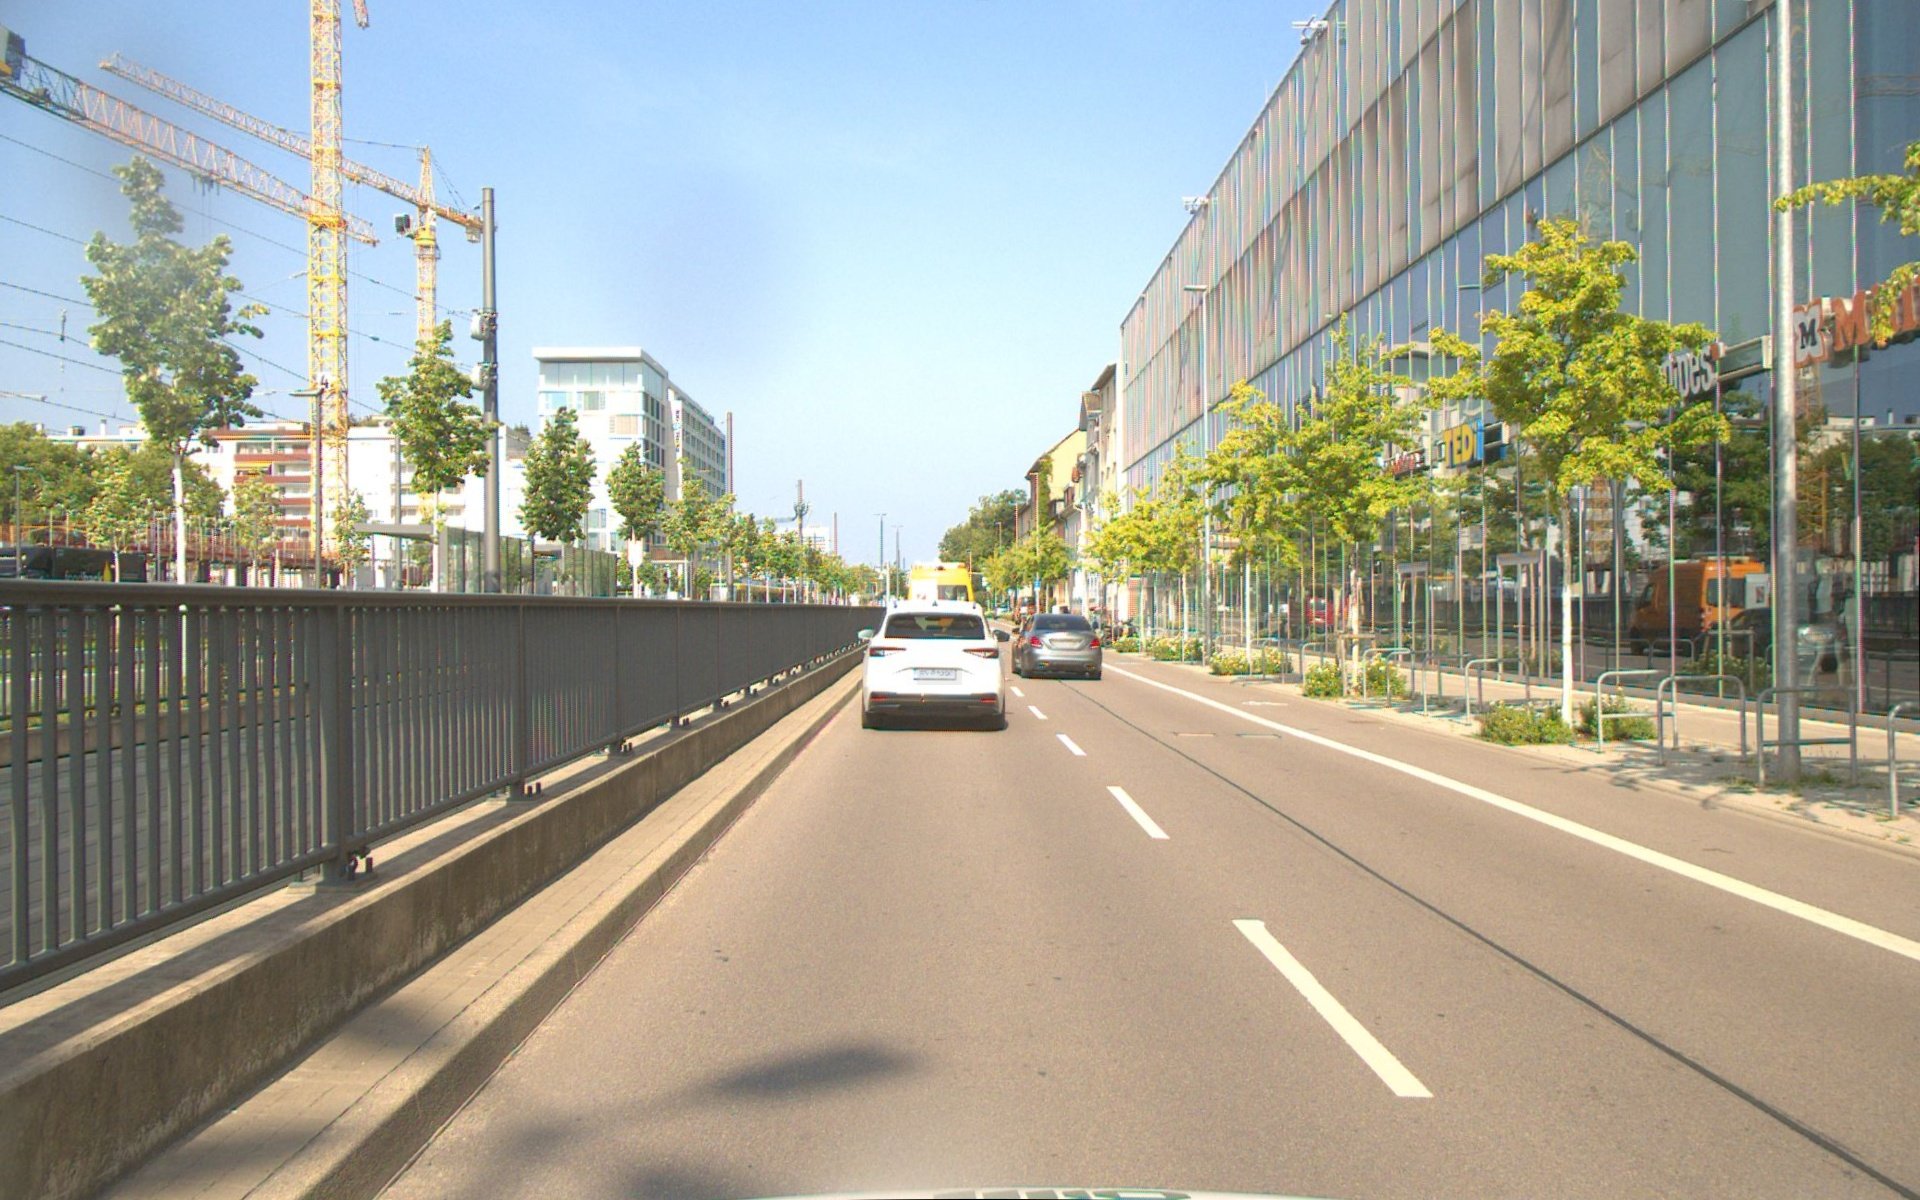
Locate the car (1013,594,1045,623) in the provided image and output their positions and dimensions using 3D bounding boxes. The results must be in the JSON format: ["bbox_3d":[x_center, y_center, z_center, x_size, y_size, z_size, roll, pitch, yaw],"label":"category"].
[{"bbox_3d":[5.051,0.590,121.471,2.021,2.049,4.587,0,1,-1],"label":"car"}]

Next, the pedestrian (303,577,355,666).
[{"bbox_3d":[-11.855,0.402,31.084,0.721,1.647,0.710,0,-1,-2],"label":"pedestrian"}]

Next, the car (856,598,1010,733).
[{"bbox_3d":[-0.335,0.782,21.765,1.832,1.602,3.999,0,0,-1],"label":"car"}]

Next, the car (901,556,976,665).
[{"bbox_3d":[-0.595,0.211,46.812,1.979,2.844,5.401,0,2,-1],"label":"car"}]

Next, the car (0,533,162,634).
[{"bbox_3d":[-34.220,-0.565,63.362,2.992,3.574,9.231,0,0,-1],"label":"car"}]

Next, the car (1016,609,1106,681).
[{"bbox_3d":[2.227,0.969,37.433,1.724,1.461,4.114,1,0,0],"label":"car"}]

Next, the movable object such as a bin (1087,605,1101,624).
[{"bbox_3d":[8.655,0.942,107.014,0.666,1.172,0.607,-2,2,-45],"label":"movable object such as a bin"}]

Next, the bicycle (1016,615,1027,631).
[{"bbox_3d":[3.600,1.348,97.387,0.642,0.955,1.517,0,0,1],"label":"bicycle"}]

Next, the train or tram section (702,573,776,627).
[{"bbox_3d":[-16.737,0.060,126.952,2.846,3.740,18.138,1,0,1],"label":"train or tram section"}]

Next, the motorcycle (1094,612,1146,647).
[{"bbox_3d":[6.491,1.194,67.020,1.934,1.373,0.865,-1,-1,-12],"label":"motorcycle"}]

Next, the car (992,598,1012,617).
[{"bbox_3d":[4.172,0.712,165.037,1.776,1.844,3.835,0,0,-1],"label":"car"}]

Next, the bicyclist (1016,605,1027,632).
[{"bbox_3d":[3.604,1.091,97.544,0.626,1.604,0.771,0,0,1],"label":"bicyclist"}]
